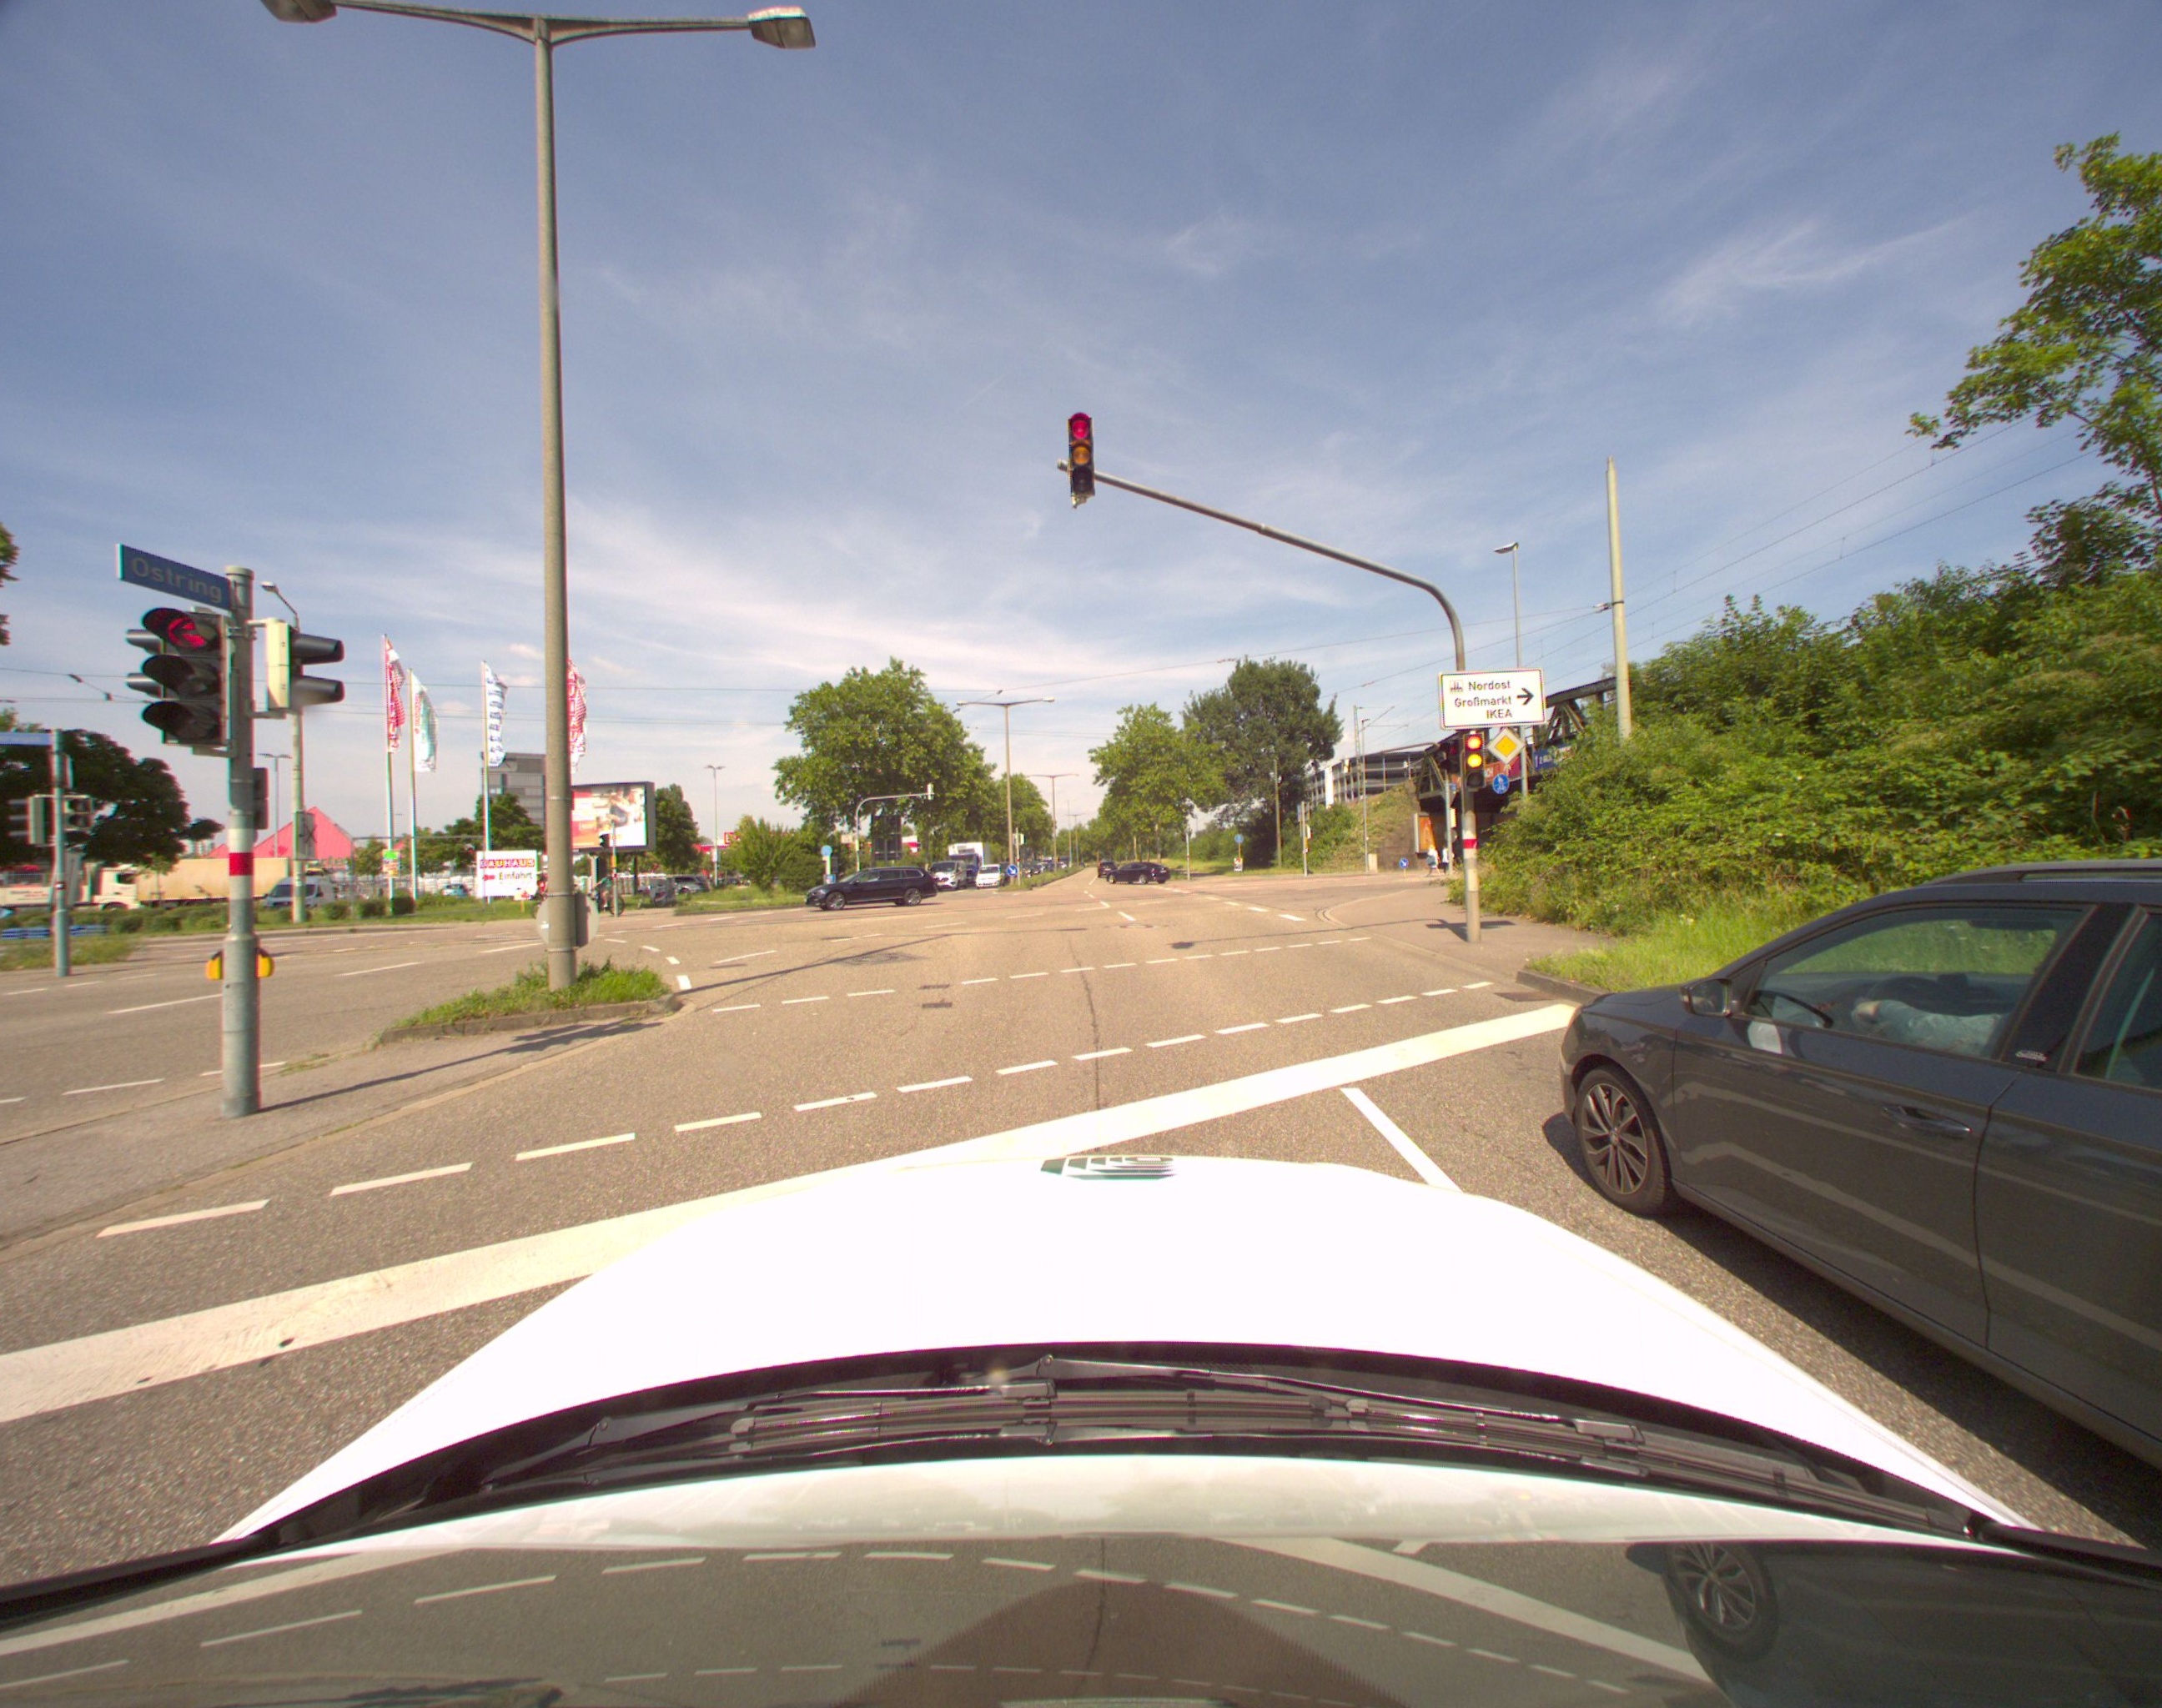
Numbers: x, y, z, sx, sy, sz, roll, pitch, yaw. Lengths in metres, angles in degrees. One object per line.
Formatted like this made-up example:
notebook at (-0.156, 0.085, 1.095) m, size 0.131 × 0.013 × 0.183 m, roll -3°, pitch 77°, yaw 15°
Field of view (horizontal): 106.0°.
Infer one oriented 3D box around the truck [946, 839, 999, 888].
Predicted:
truck at (-8.410, 0.689, 63.946) m, size 2.793 × 3.471 × 6.693 m, roll -4°, pitch 0°, yaw 2°

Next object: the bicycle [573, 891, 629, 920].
bicycle at (-17.854, 1.891, 30.338) m, size 0.412 × 0.937 × 2.007 m, roll -2°, pitch -1°, yaw 18°

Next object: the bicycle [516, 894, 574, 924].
bicycle at (-19.177, 1.954, 29.164) m, size 0.430 × 0.937 × 1.761 m, roll -2°, pitch -1°, yaw 24°

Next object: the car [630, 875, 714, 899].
car at (-27.773, 2.228, 55.480) m, size 4.556 × 1.414 × 2.196 m, roll -2°, pitch -1°, yaw -6°

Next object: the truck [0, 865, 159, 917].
truck at (-64.939, 2.322, 50.610) m, size 9.655 × 2.892 × 2.895 m, roll -2°, pitch -1°, yaw -35°

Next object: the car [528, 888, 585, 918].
car at (-31.682, 2.916, 49.128) m, size 2.212 × 1.572 × 4.522 m, roll -1°, pitch -1°, yaw -41°

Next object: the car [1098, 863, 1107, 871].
car at (4.564, 2.714, 172.319) m, size 1.682 × 1.510 × 3.816 m, roll -3°, pitch 0°, yaw 2°

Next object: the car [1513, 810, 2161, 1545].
car at (2.976, 0.631, 2.096) m, size 1.668 × 1.453 × 4.037 m, roll -1°, pitch 0°, yaw 1°

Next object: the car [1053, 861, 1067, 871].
car at (-3.173, 1.853, 125.478) m, size 1.777 × 1.459 × 4.473 m, roll -3°, pitch 0°, yaw 2°

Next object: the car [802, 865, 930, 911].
car at (-7.877, 1.196, 29.881) m, size 4.233 × 1.443 × 1.773 m, roll -2°, pitch 0°, yaw -29°

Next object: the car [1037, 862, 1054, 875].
car at (-4.238, 1.716, 97.856) m, size 1.778 × 1.489 × 4.211 m, roll -3°, pitch 0°, yaw 1°

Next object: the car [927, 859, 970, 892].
car at (-8.650, 1.376, 53.585) m, size 1.970 × 1.999 × 5.030 m, roll -2°, pitch 0°, yaw -1°

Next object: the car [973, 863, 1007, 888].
car at (-5.851, 1.361, 52.797) m, size 1.587 × 1.477 × 3.731 m, roll -3°, pitch 0°, yaw 2°

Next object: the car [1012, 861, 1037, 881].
car at (-4.955, 1.467, 72.251) m, size 1.682 × 1.586 × 4.242 m, roll -3°, pitch 0°, yaw 2°

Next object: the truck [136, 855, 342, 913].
truck at (-55.066, 1.884, 53.718) m, size 8.964 × 3.311 × 3.125 m, roll -2°, pitch -1°, yaw -36°

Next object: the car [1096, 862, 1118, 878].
car at (2.332, 1.432, 73.524) m, size 1.828 × 1.391 × 4.263 m, roll -2°, pitch 0°, yaw -1°

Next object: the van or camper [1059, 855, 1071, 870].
van or camper at (-2.729, 1.482, 141.002) m, size 1.932 × 2.368 × 5.397 m, roll -3°, pitch -1°, yaw 0°

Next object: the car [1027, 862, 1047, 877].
car at (-4.570, 1.613, 85.161) m, size 1.682 × 1.472 × 3.816 m, roll -3°, pitch 0°, yaw 2°

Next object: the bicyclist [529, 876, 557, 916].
bicyclist at (-19.246, 1.493, 29.154) m, size 0.523 × 1.414 × 0.613 m, roll -2°, pitch -1°, yaw 24°

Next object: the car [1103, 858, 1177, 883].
car at (3.682, 1.047, 51.342) m, size 1.925 × 1.463 × 4.565 m, roll -2°, pitch -1°, yaw -42°

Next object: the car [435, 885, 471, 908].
car at (-45.841, 3.076, 59.509) m, size 1.829 × 1.572 × 4.234 m, roll -2°, pitch -1°, yaw -34°

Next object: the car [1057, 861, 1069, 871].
car at (-2.848, 1.866, 132.087) m, size 1.682 × 1.510 × 3.816 m, roll -3°, pitch 0°, yaw 2°

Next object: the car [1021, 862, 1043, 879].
car at (-4.773, 1.542, 79.526) m, size 1.682 × 1.473 × 4.220 m, roll -4°, pitch 0°, yaw 2°

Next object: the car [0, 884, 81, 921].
car at (-77.034, 3.522, 59.871) m, size 2.396 × 2.529 × 6.066 m, roll -2°, pitch -1°, yaw -31°

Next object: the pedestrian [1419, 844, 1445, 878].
pedestrian at (17.234, 0.352, 39.992) m, size 0.865 × 1.611 × 0.778 m, roll -2°, pitch -1°, yaw 1°

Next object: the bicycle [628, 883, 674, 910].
bicycle at (-18.778, 1.840, 35.599) m, size 0.590 × 1.037 × 1.903 m, roll -2°, pitch -1°, yaw 16°

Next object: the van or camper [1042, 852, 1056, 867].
van or camper at (-5.842, 1.014, 148.259) m, size 2.007 × 2.587 × 5.519 m, roll -3°, pitch 0°, yaw 2°

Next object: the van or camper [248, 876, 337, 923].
van or camper at (-41.035, 2.304, 42.542) m, size 2.204 × 2.210 × 5.462 m, roll -2°, pitch -1°, yaw -32°

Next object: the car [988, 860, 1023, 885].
car at (-5.410, 1.315, 58.730) m, size 1.813 × 1.646 × 4.695 m, roll -3°, pitch -1°, yaw 2°

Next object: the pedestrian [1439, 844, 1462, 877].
pedestrian at (18.176, 0.327, 40.073) m, size 0.726 × 1.579 × 0.778 m, roll -2°, pitch -1°, yaw 1°

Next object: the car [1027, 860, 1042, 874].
car at (-6.758, 1.917, 119.269) m, size 1.682 × 1.858 × 4.038 m, roll -3°, pitch -1°, yaw 2°

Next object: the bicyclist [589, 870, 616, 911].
bicyclist at (-17.854, 1.367, 30.391) m, size 0.523 × 1.491 × 0.612 m, roll -2°, pitch -1°, yaw 17°
